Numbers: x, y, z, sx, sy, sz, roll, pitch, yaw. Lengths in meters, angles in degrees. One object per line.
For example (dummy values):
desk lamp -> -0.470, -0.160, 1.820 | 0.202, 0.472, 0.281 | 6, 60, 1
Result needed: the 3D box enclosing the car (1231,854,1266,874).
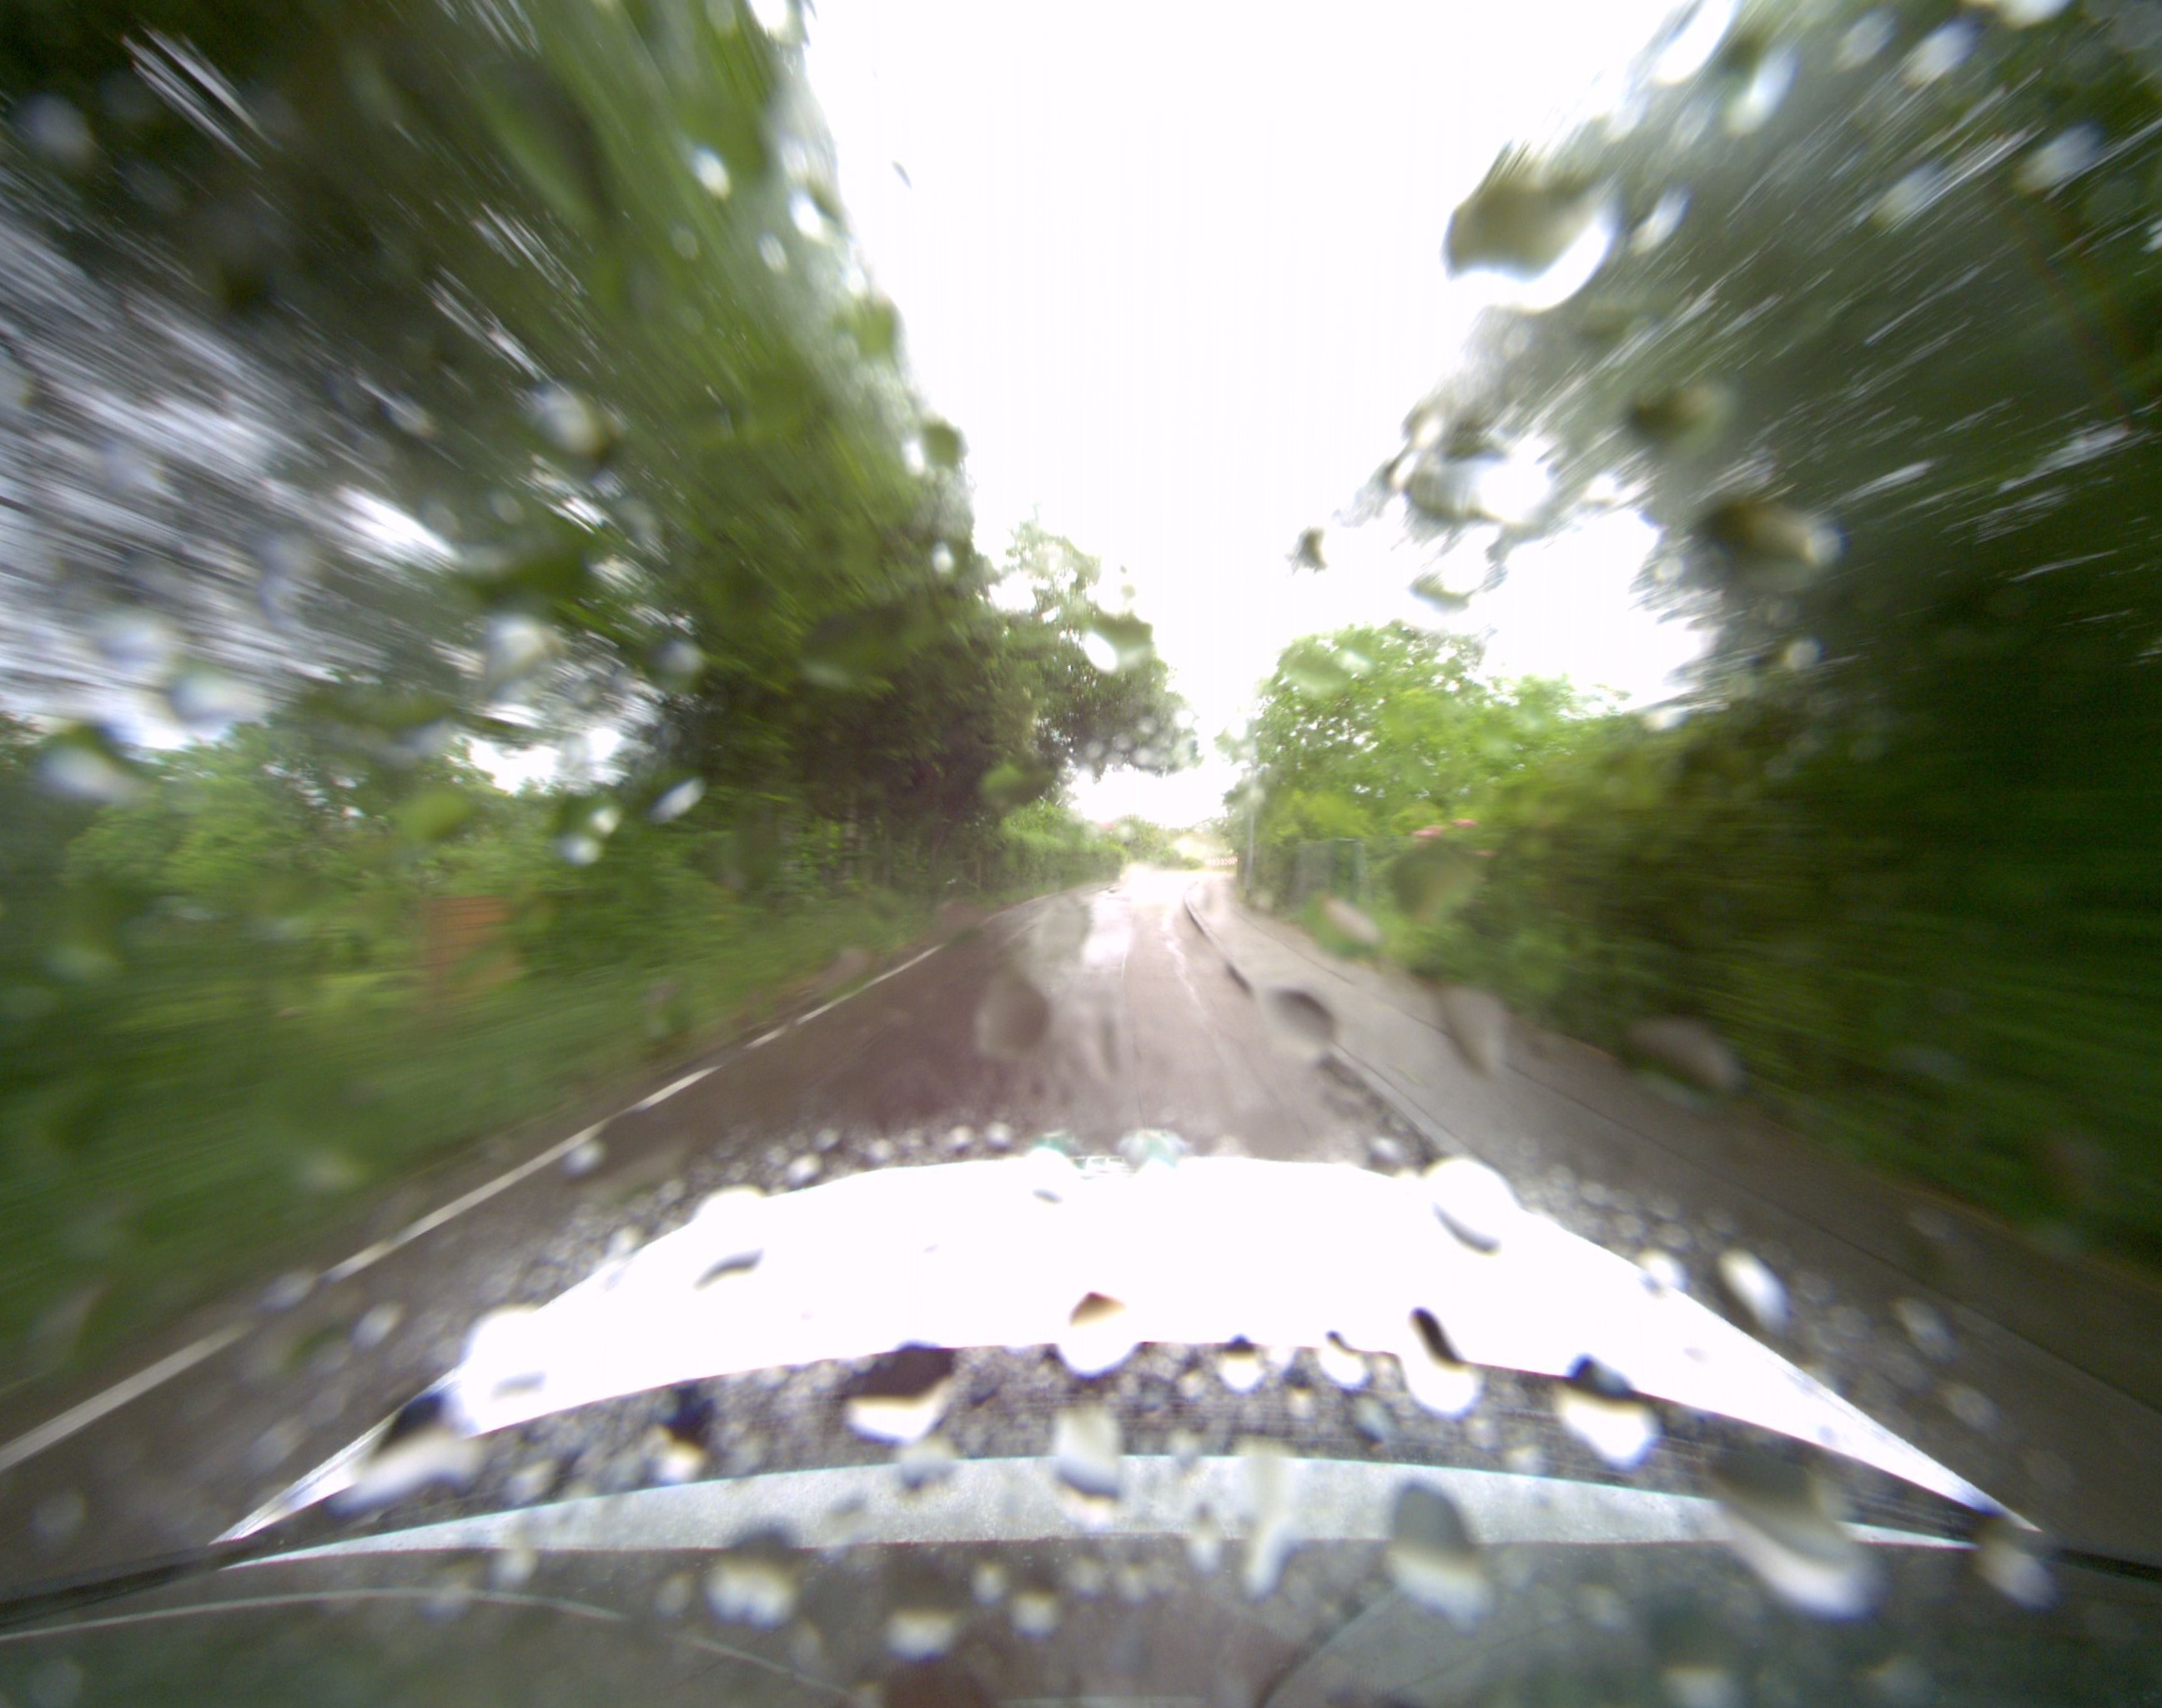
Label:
car -> 13.836, 0.787, 67.010 | 1.798, 1.594, 4.024 | -1, -1, 27
